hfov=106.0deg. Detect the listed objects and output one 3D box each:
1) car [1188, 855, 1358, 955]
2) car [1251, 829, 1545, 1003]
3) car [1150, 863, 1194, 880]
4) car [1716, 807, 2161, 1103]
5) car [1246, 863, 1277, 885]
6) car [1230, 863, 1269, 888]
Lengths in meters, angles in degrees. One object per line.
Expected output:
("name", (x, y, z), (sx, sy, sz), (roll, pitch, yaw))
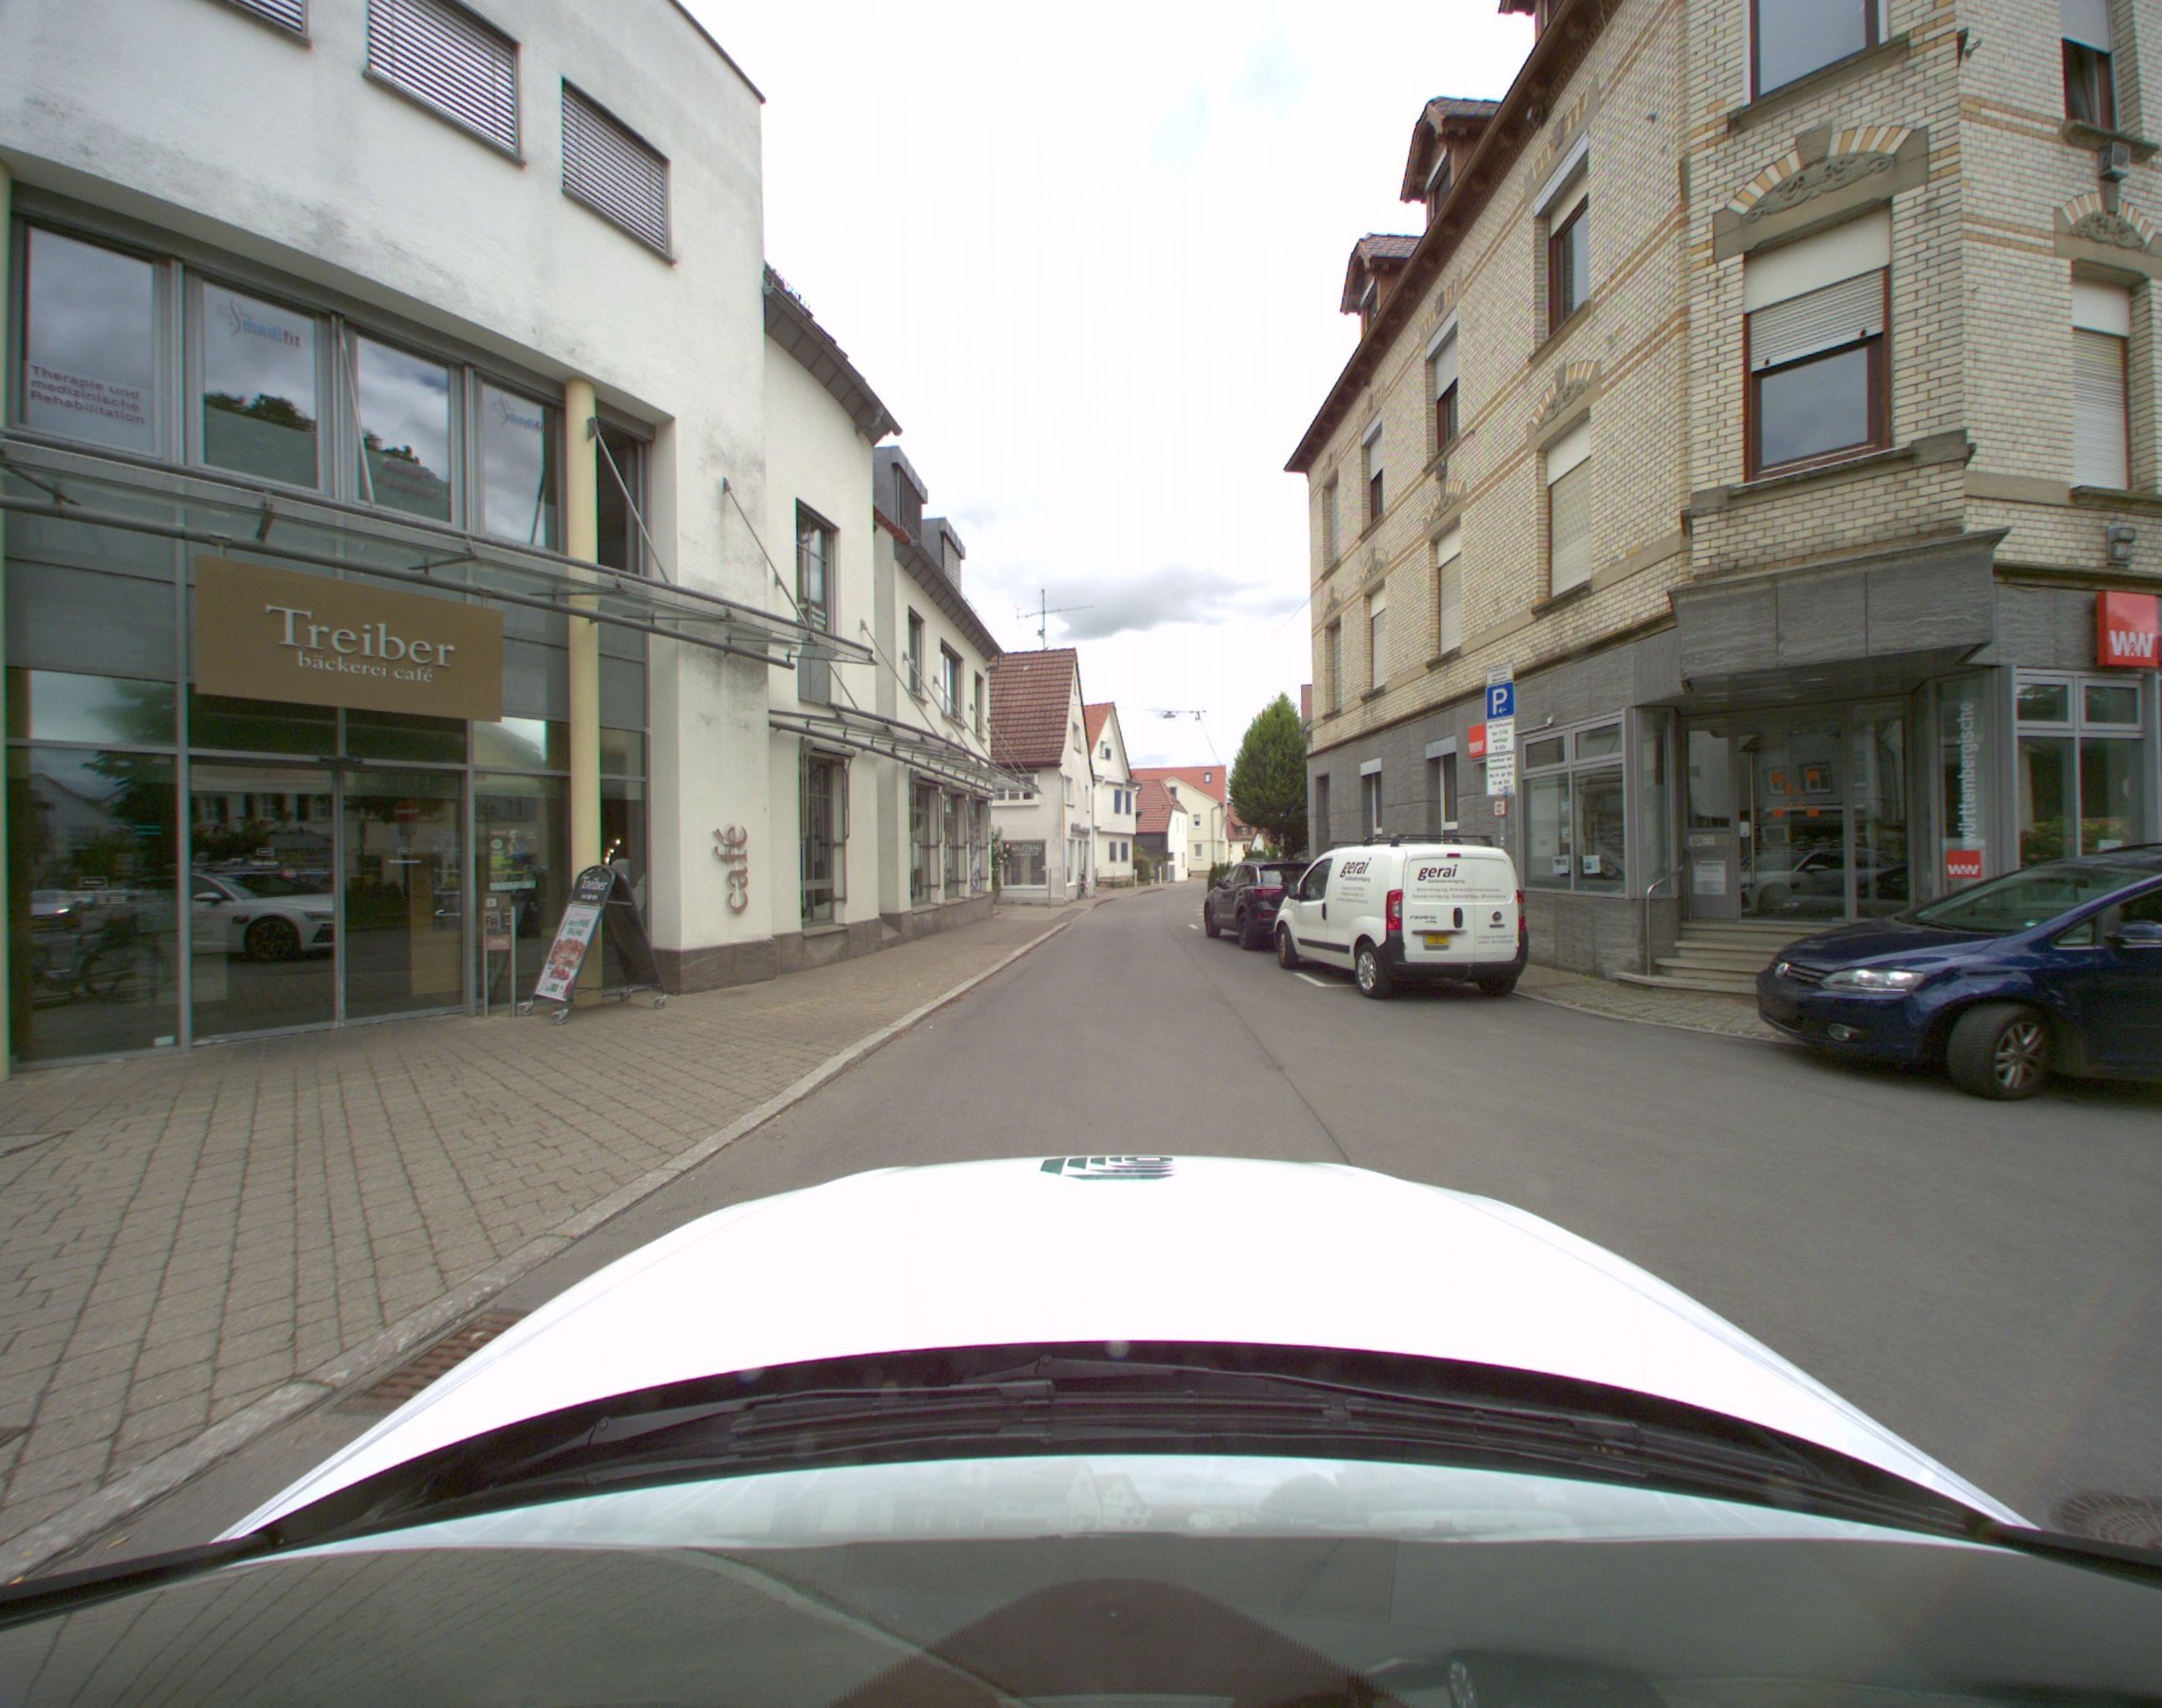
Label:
("car", (3.420, 0.849, 15.482), (1.785, 1.600, 4.533), (0, -1, -6))
("car", (3.776, 0.645, 10.616), (1.824, 1.792, 4.208), (0, 0, -7))
("car", (8.552, 1.608, 76.466), (3.700, 1.412, 2.130), (2, -2, 20))
("car", (6.977, 0.599, 5.415), (3.974, 1.704, 1.872), (0, -1, 22))
("car", (13.856, 1.487, 62.300), (1.978, 1.615, 4.900), (0, -1, 17))
("car", (10.567, 1.296, 50.848), (1.933, 1.508, 4.840), (0, -1, 16))
